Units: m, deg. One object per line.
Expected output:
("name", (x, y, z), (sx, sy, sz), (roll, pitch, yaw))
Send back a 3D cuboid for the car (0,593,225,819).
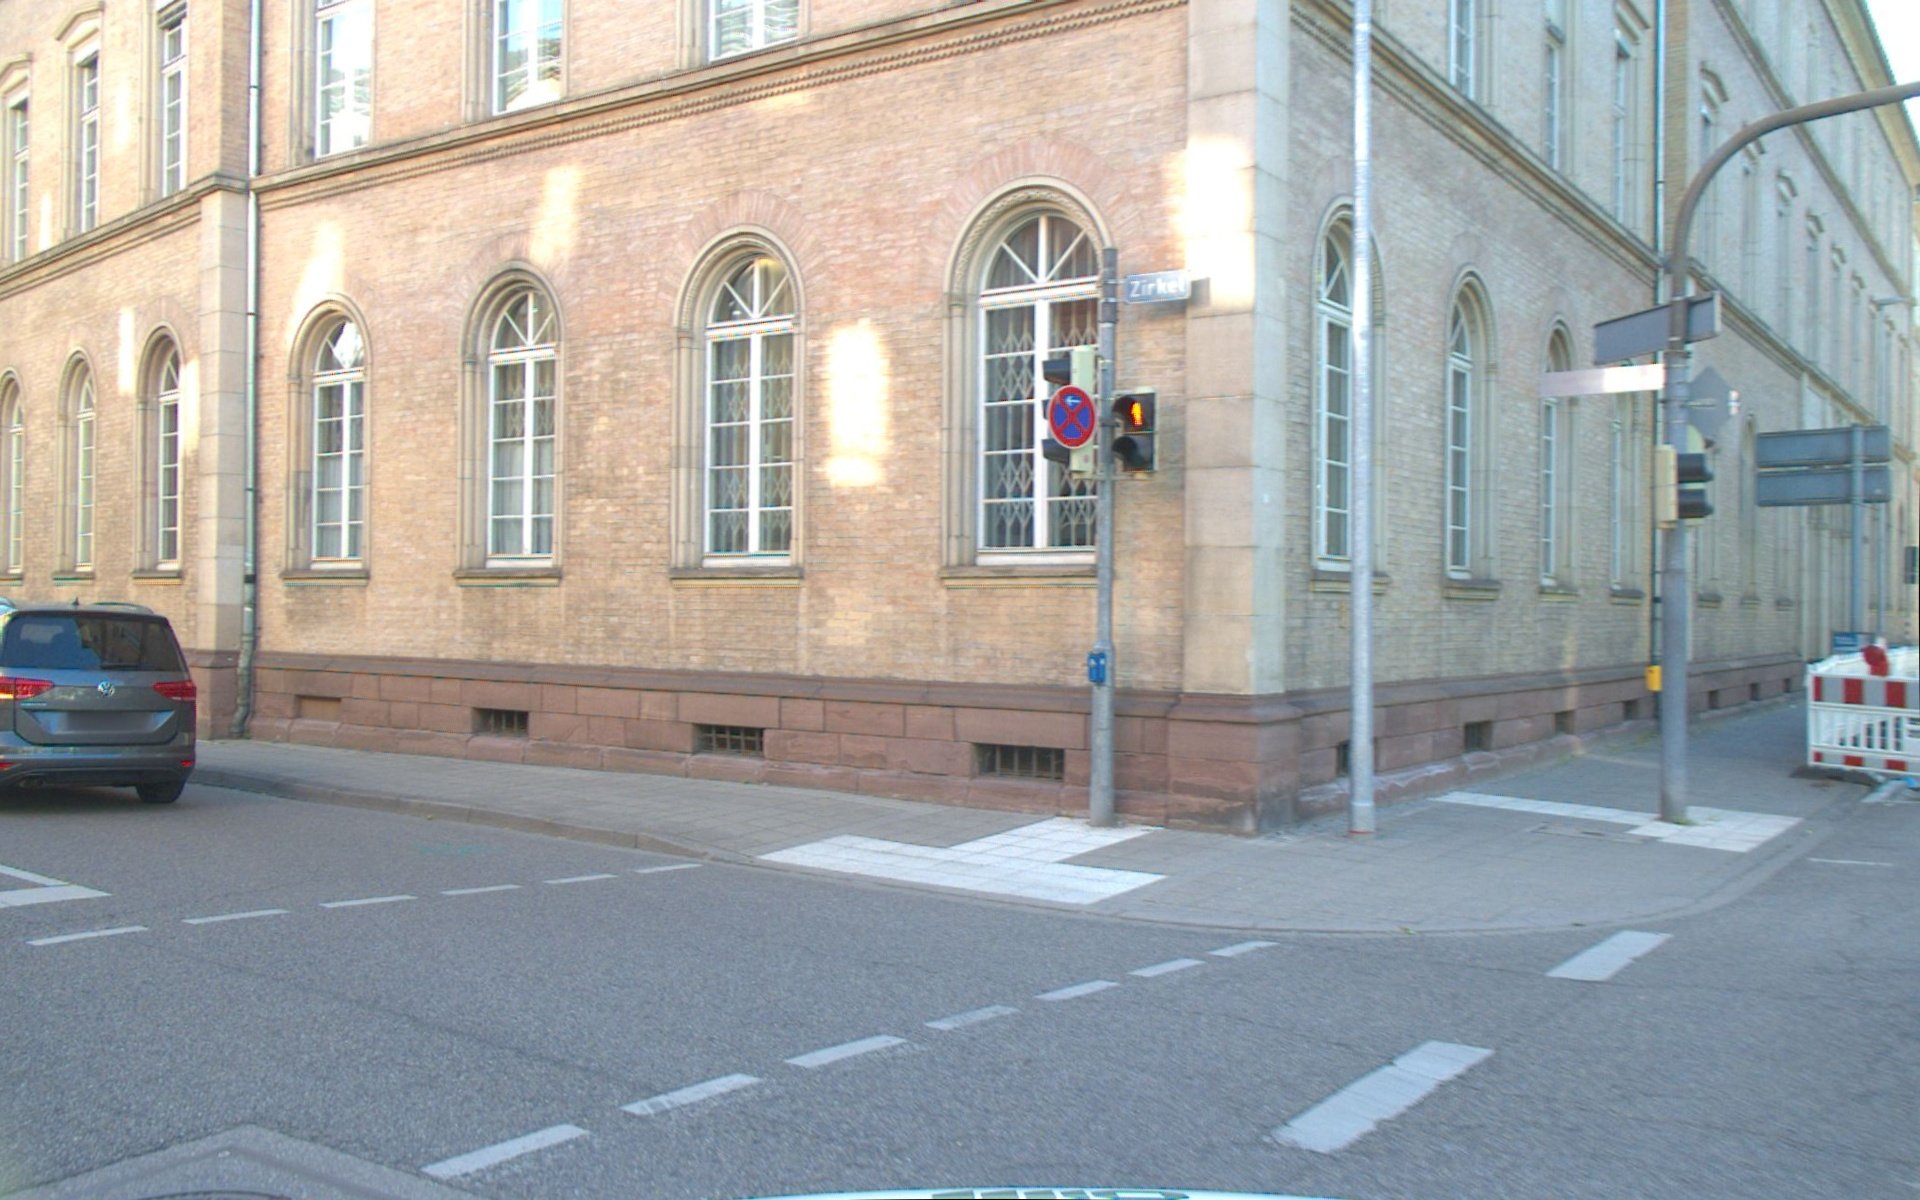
("car", (-7.911, 0.801, 13.810), (3.928, 1.635, 1.757), (-1, -2, 42))
